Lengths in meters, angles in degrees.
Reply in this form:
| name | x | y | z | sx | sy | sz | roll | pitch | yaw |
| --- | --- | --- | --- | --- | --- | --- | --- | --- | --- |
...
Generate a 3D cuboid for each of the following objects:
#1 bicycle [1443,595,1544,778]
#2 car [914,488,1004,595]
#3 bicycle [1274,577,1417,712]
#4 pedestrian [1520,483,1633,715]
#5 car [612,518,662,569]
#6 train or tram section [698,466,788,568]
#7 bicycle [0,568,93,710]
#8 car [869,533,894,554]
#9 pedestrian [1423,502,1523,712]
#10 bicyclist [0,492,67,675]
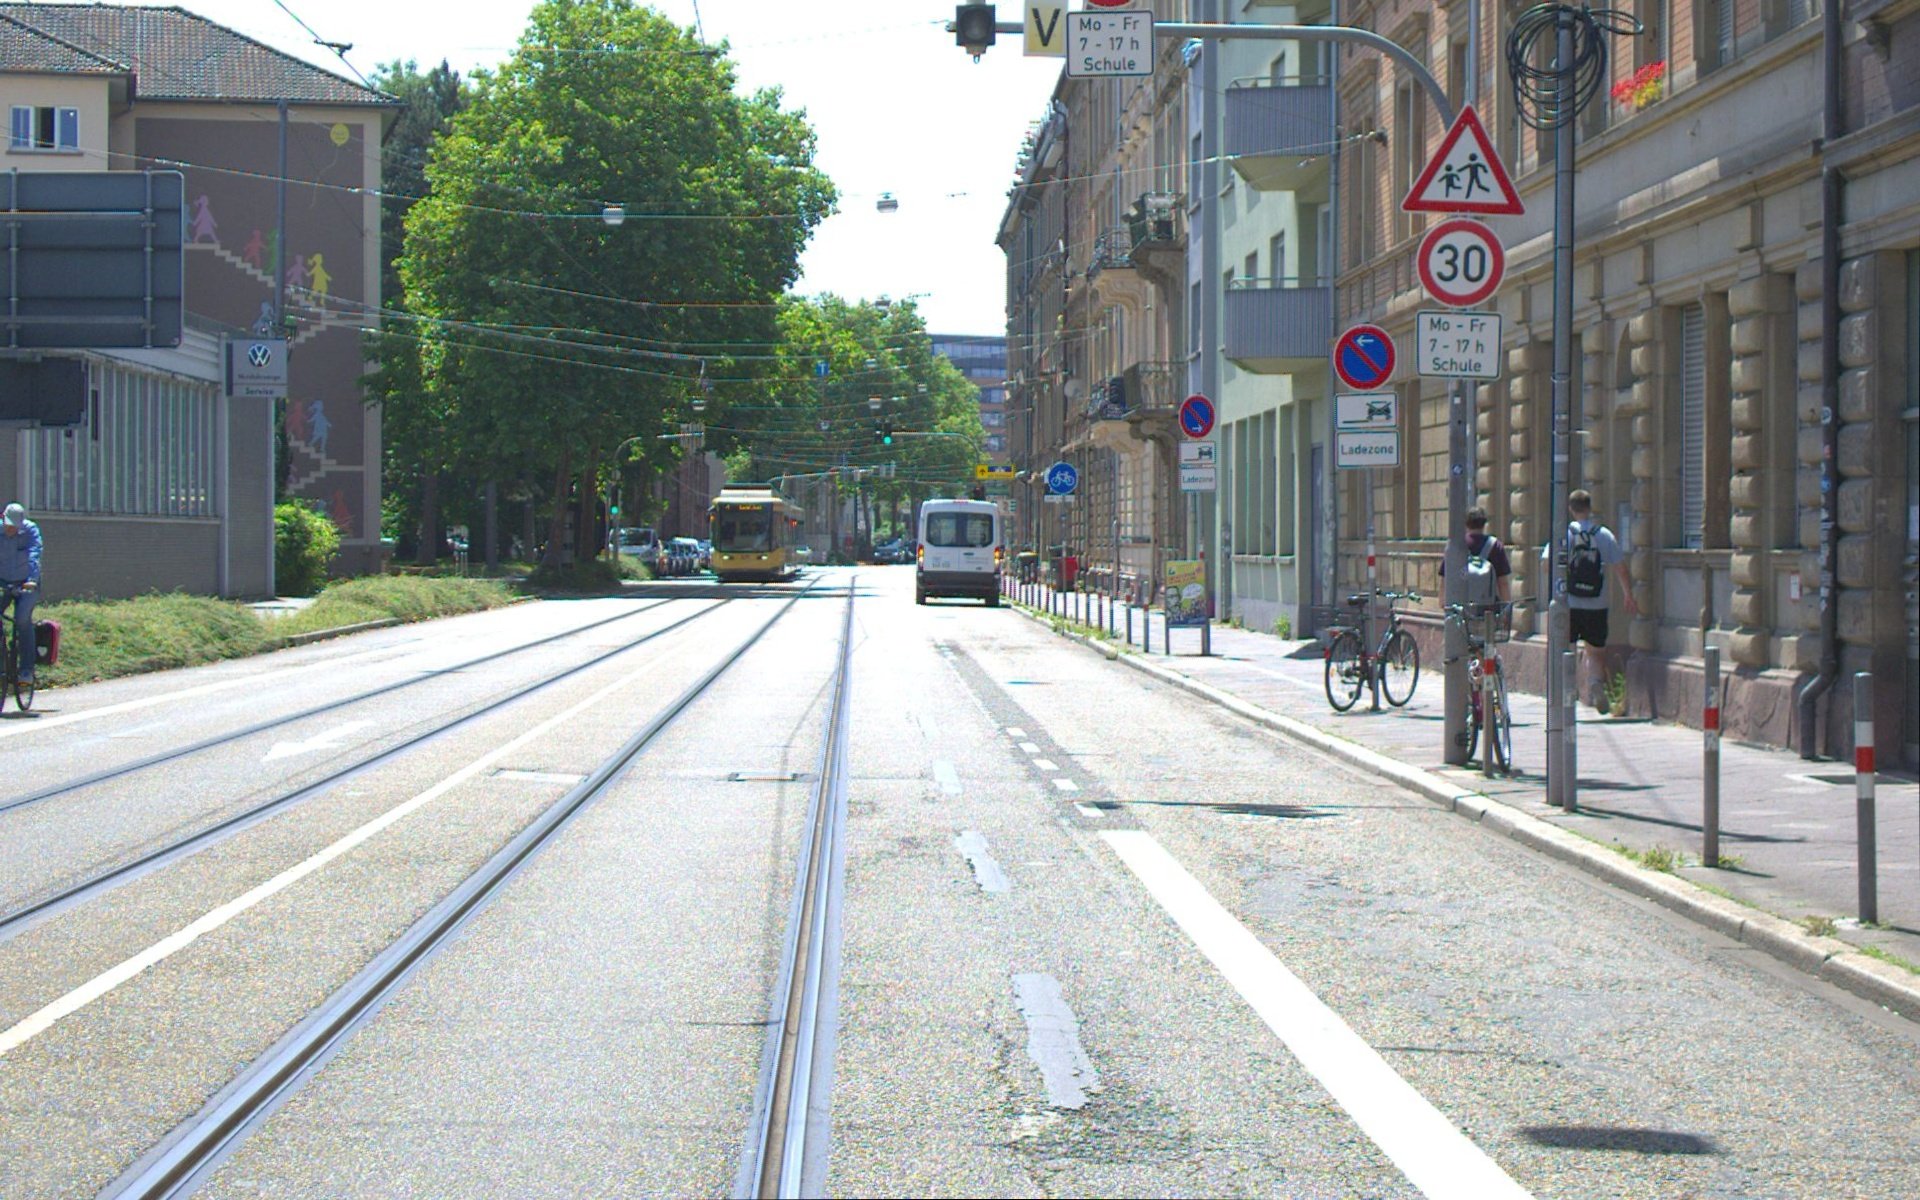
| name | x | y | z | sx | sy | sz | roll | pitch | yaw |
| --- | --- | --- | --- | --- | --- | --- | --- | --- | --- |
| bicycle | 3.476 | 0.536 | 22.528 | 0.447 | 1.093 | 2.422 | 0 | 1 | 4 |
| car | -0.050 | -1.447 | 84.320 | 2.067 | 2.492 | 5.454 | 1 | 1 | 0 |
| bicycle | 3.452 | 0.377 | 30.616 | 0.499 | 1.127 | 2.240 | 0 | 1 | 27 |
| pedestrian | 5.062 | -0.015 | 28.251 | 0.702 | 1.842 | 0.644 | -3 | 1 | 0 |
| car | -12.588 | -2.214 | 134.247 | 1.800 | 1.916 | 4.001 | 1 | 1 | -4 |
| train or tram section | -7.955 | -3.046 | 127.440 | 2.960 | 3.568 | 13.425 | 0 | 1 | -2 |
| bicycle | -8.108 | 0.308 | 29.406 | 0.698 | 1.140 | 2.496 | 0 | 1 | 1 |
| car | -5.352 | -3.884 | 235.259 | 1.528 | 1.404 | 3.490 | 1 | 1 | -4 |
| pedestrian | 4.221 | 0.050 | 28.331 | 0.720 | 1.714 | 0.644 | 0 | 1 | 0 |
| bicyclist | -8.119 | -0.147 | 29.380 | 0.698 | 1.543 | 0.980 | 0 | 1 | 1 |
